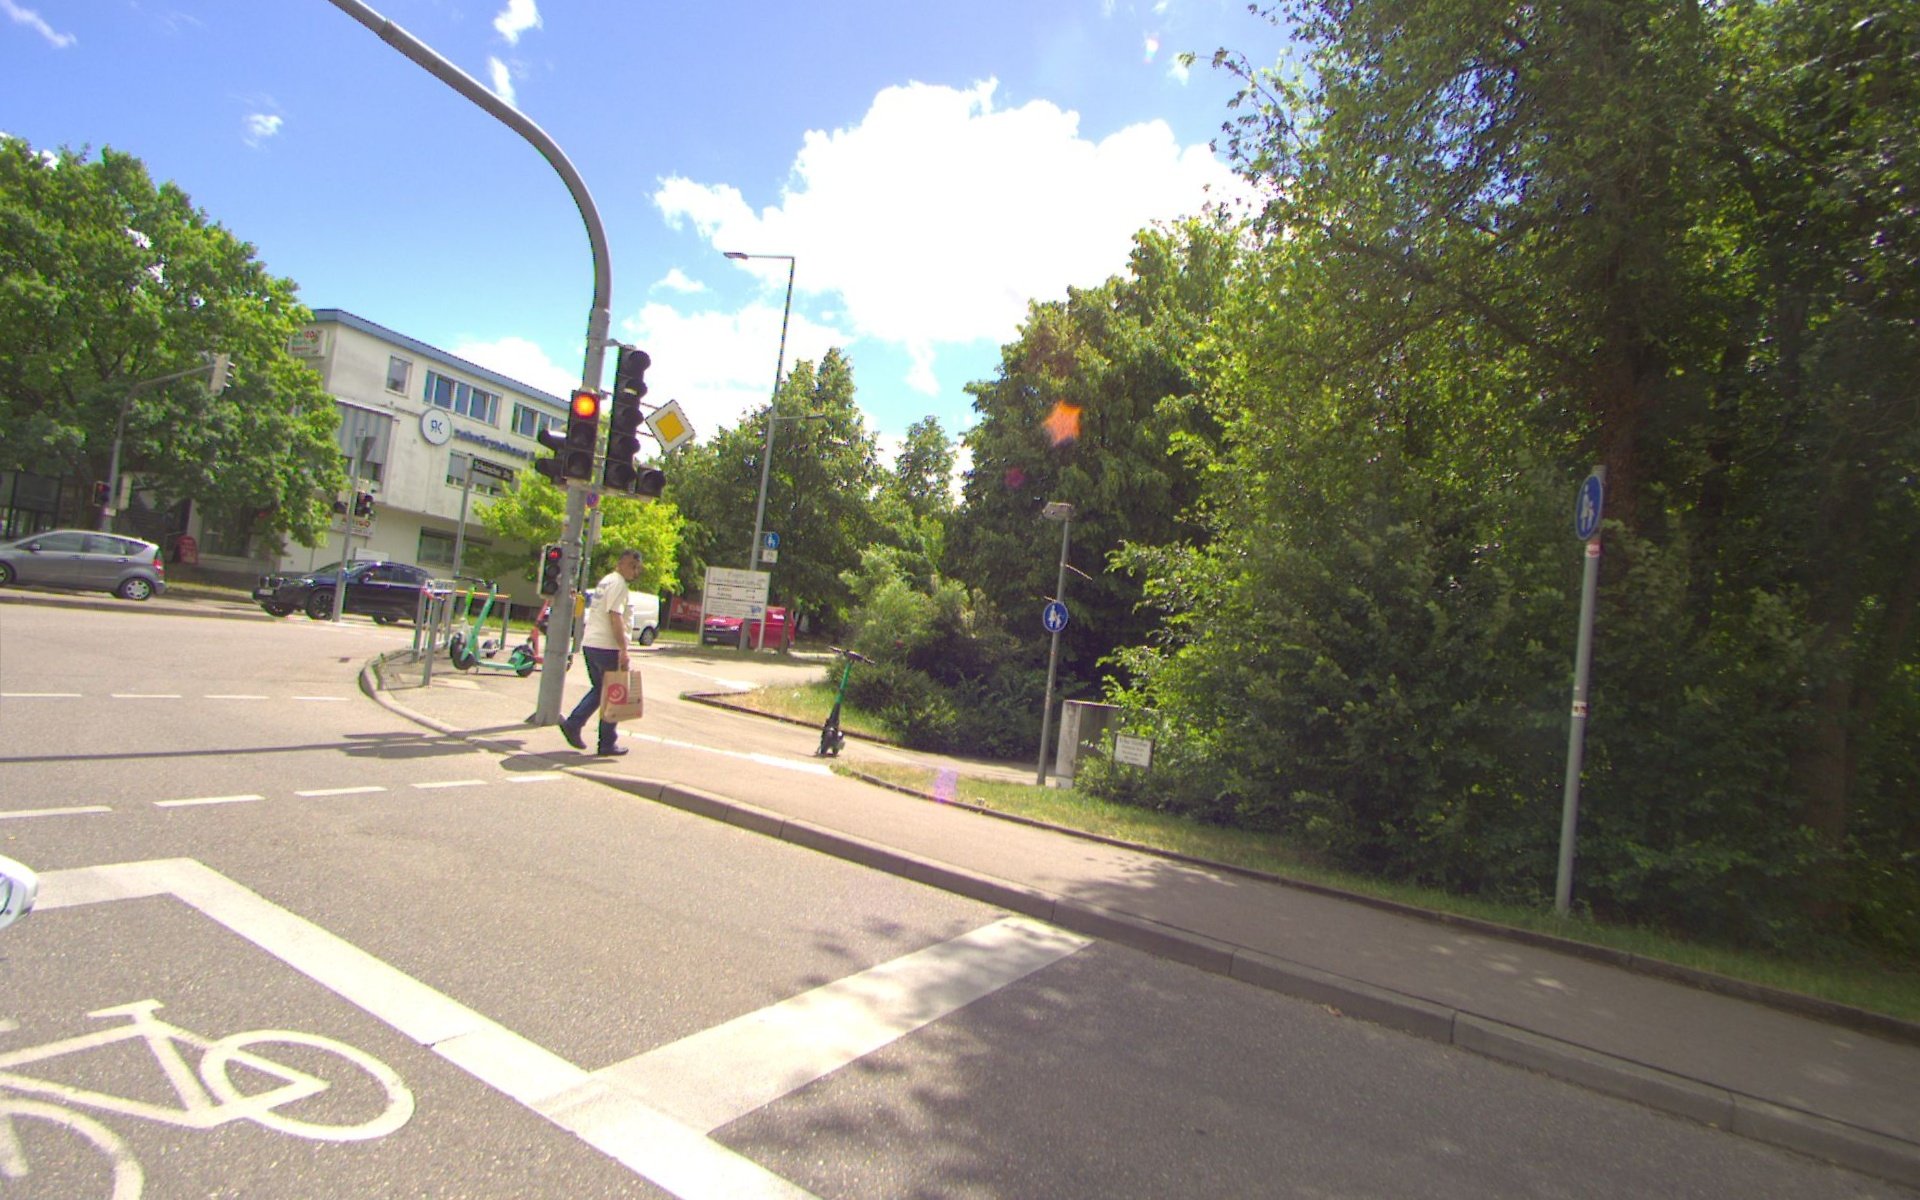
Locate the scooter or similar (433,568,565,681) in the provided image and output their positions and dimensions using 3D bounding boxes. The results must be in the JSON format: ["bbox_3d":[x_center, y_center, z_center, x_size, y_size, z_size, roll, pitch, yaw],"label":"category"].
[{"bbox_3d":[-5.936,0.335,13.004,0.455,1.292,1.344,8,-1,38],"label":"scooter or similar"}]

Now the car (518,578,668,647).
[{"bbox_3d":[-12.086,0.477,33.483,1.963,1.737,4.576,7,-2,22],"label":"car"}]

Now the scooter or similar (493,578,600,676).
[{"bbox_3d":[-5.990,0.416,14.638,0.547,1.254,1.231,8,-3,23],"label":"scooter or similar"}]

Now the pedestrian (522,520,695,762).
[{"bbox_3d":[-2.889,0.347,8.317,0.729,1.829,0.871,7,-1,28],"label":"pedestrian"}]

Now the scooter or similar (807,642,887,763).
[{"bbox_3d":[-1.397,1.252,12.269,0.706,1.287,1.243,10,-7,-7],"label":"scooter or similar"}]

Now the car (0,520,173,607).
[{"bbox_3d":[-21.579,-0.920,24.077,1.972,1.573,3.906,6,-3,40],"label":"car"}]

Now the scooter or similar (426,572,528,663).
[{"bbox_3d":[-7.005,0.283,14.665,0.533,1.168,1.362,9,-3,7],"label":"scooter or similar"}]

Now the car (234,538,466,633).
[{"bbox_3d":[-15.323,-0.300,25.571,1.965,1.737,4.573,7,-2,26],"label":"car"}]

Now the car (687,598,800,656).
[{"bbox_3d":[-8.738,1.140,41.056,1.964,1.885,4.822,5,-3,22],"label":"car"}]

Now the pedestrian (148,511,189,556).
[{"bbox_3d":[-32.497,-2.716,41.298,0.890,1.662,0.771,7,-1,18],"label":"pedestrian"}]

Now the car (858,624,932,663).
[{"bbox_3d":[-2.872,1.996,45.316,1.726,1.504,4.001,4,-2,22],"label":"car"}]
